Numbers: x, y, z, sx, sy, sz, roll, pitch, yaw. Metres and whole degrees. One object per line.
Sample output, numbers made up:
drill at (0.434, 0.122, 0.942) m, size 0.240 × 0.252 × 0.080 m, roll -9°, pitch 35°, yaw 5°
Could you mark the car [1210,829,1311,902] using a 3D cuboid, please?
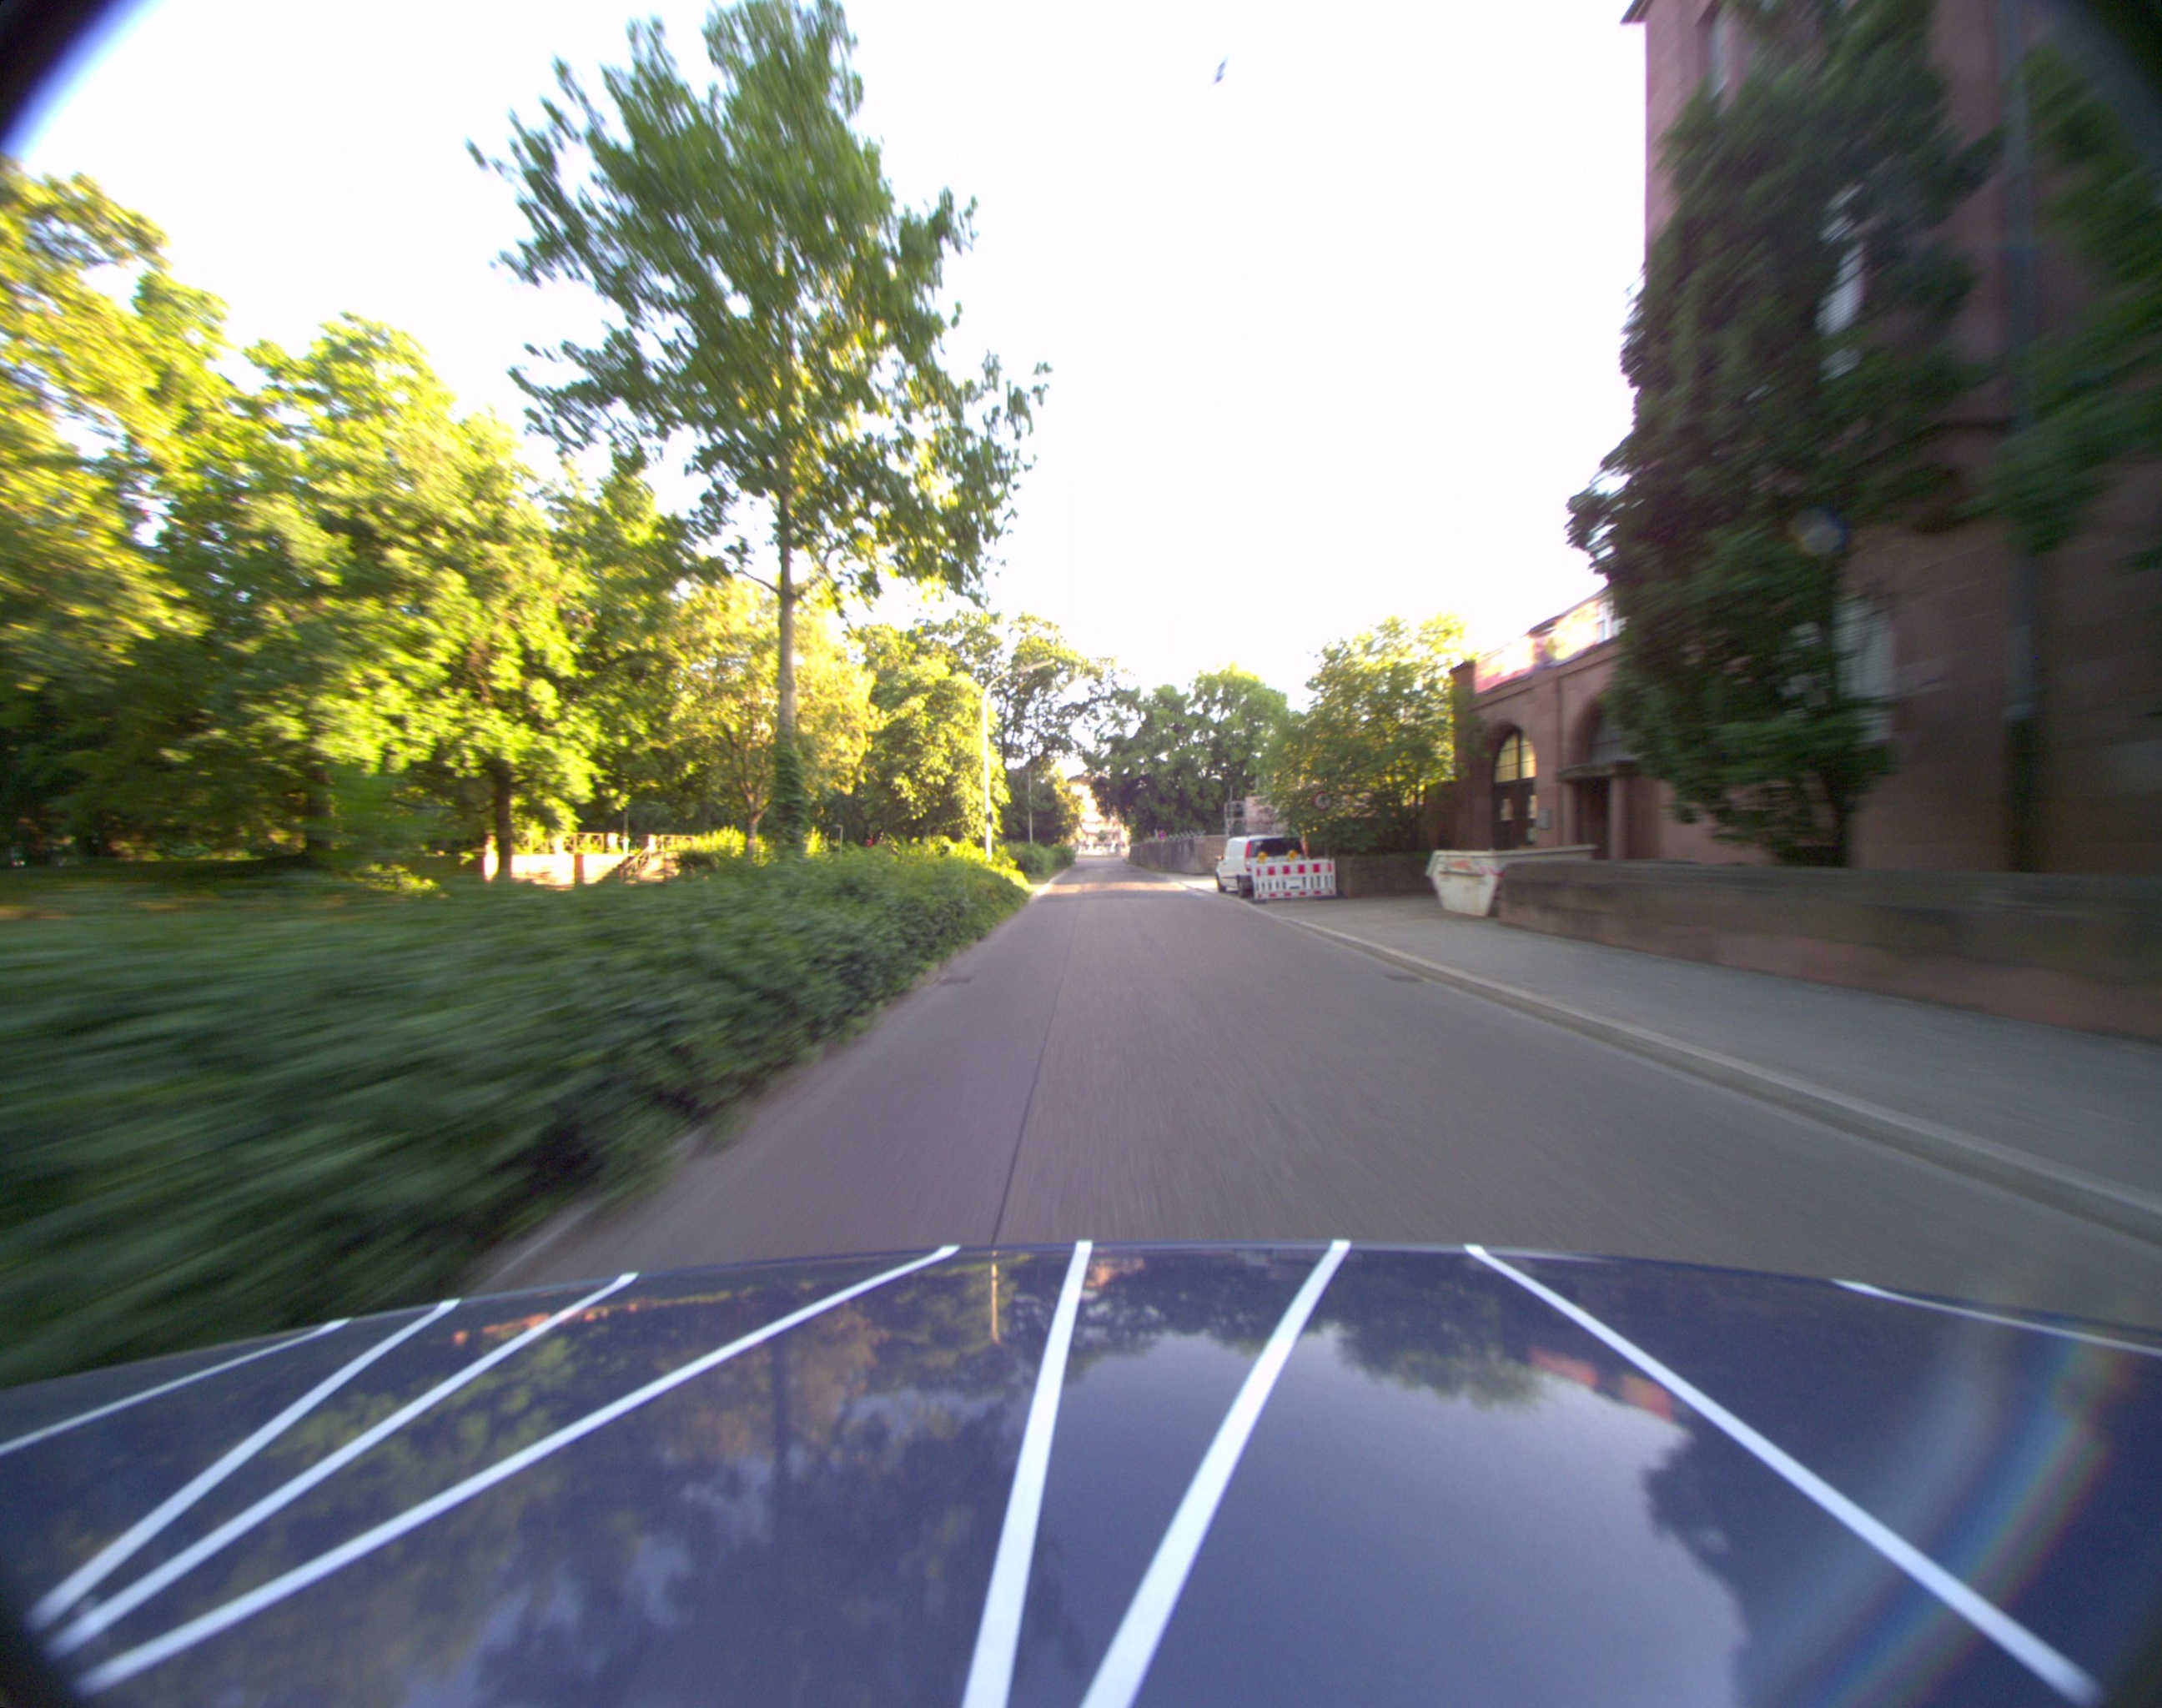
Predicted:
car at (5.640, 0.291, 24.608) m, size 1.887 × 2.002 × 5.225 m, roll -4°, pitch 1°, yaw -1°
